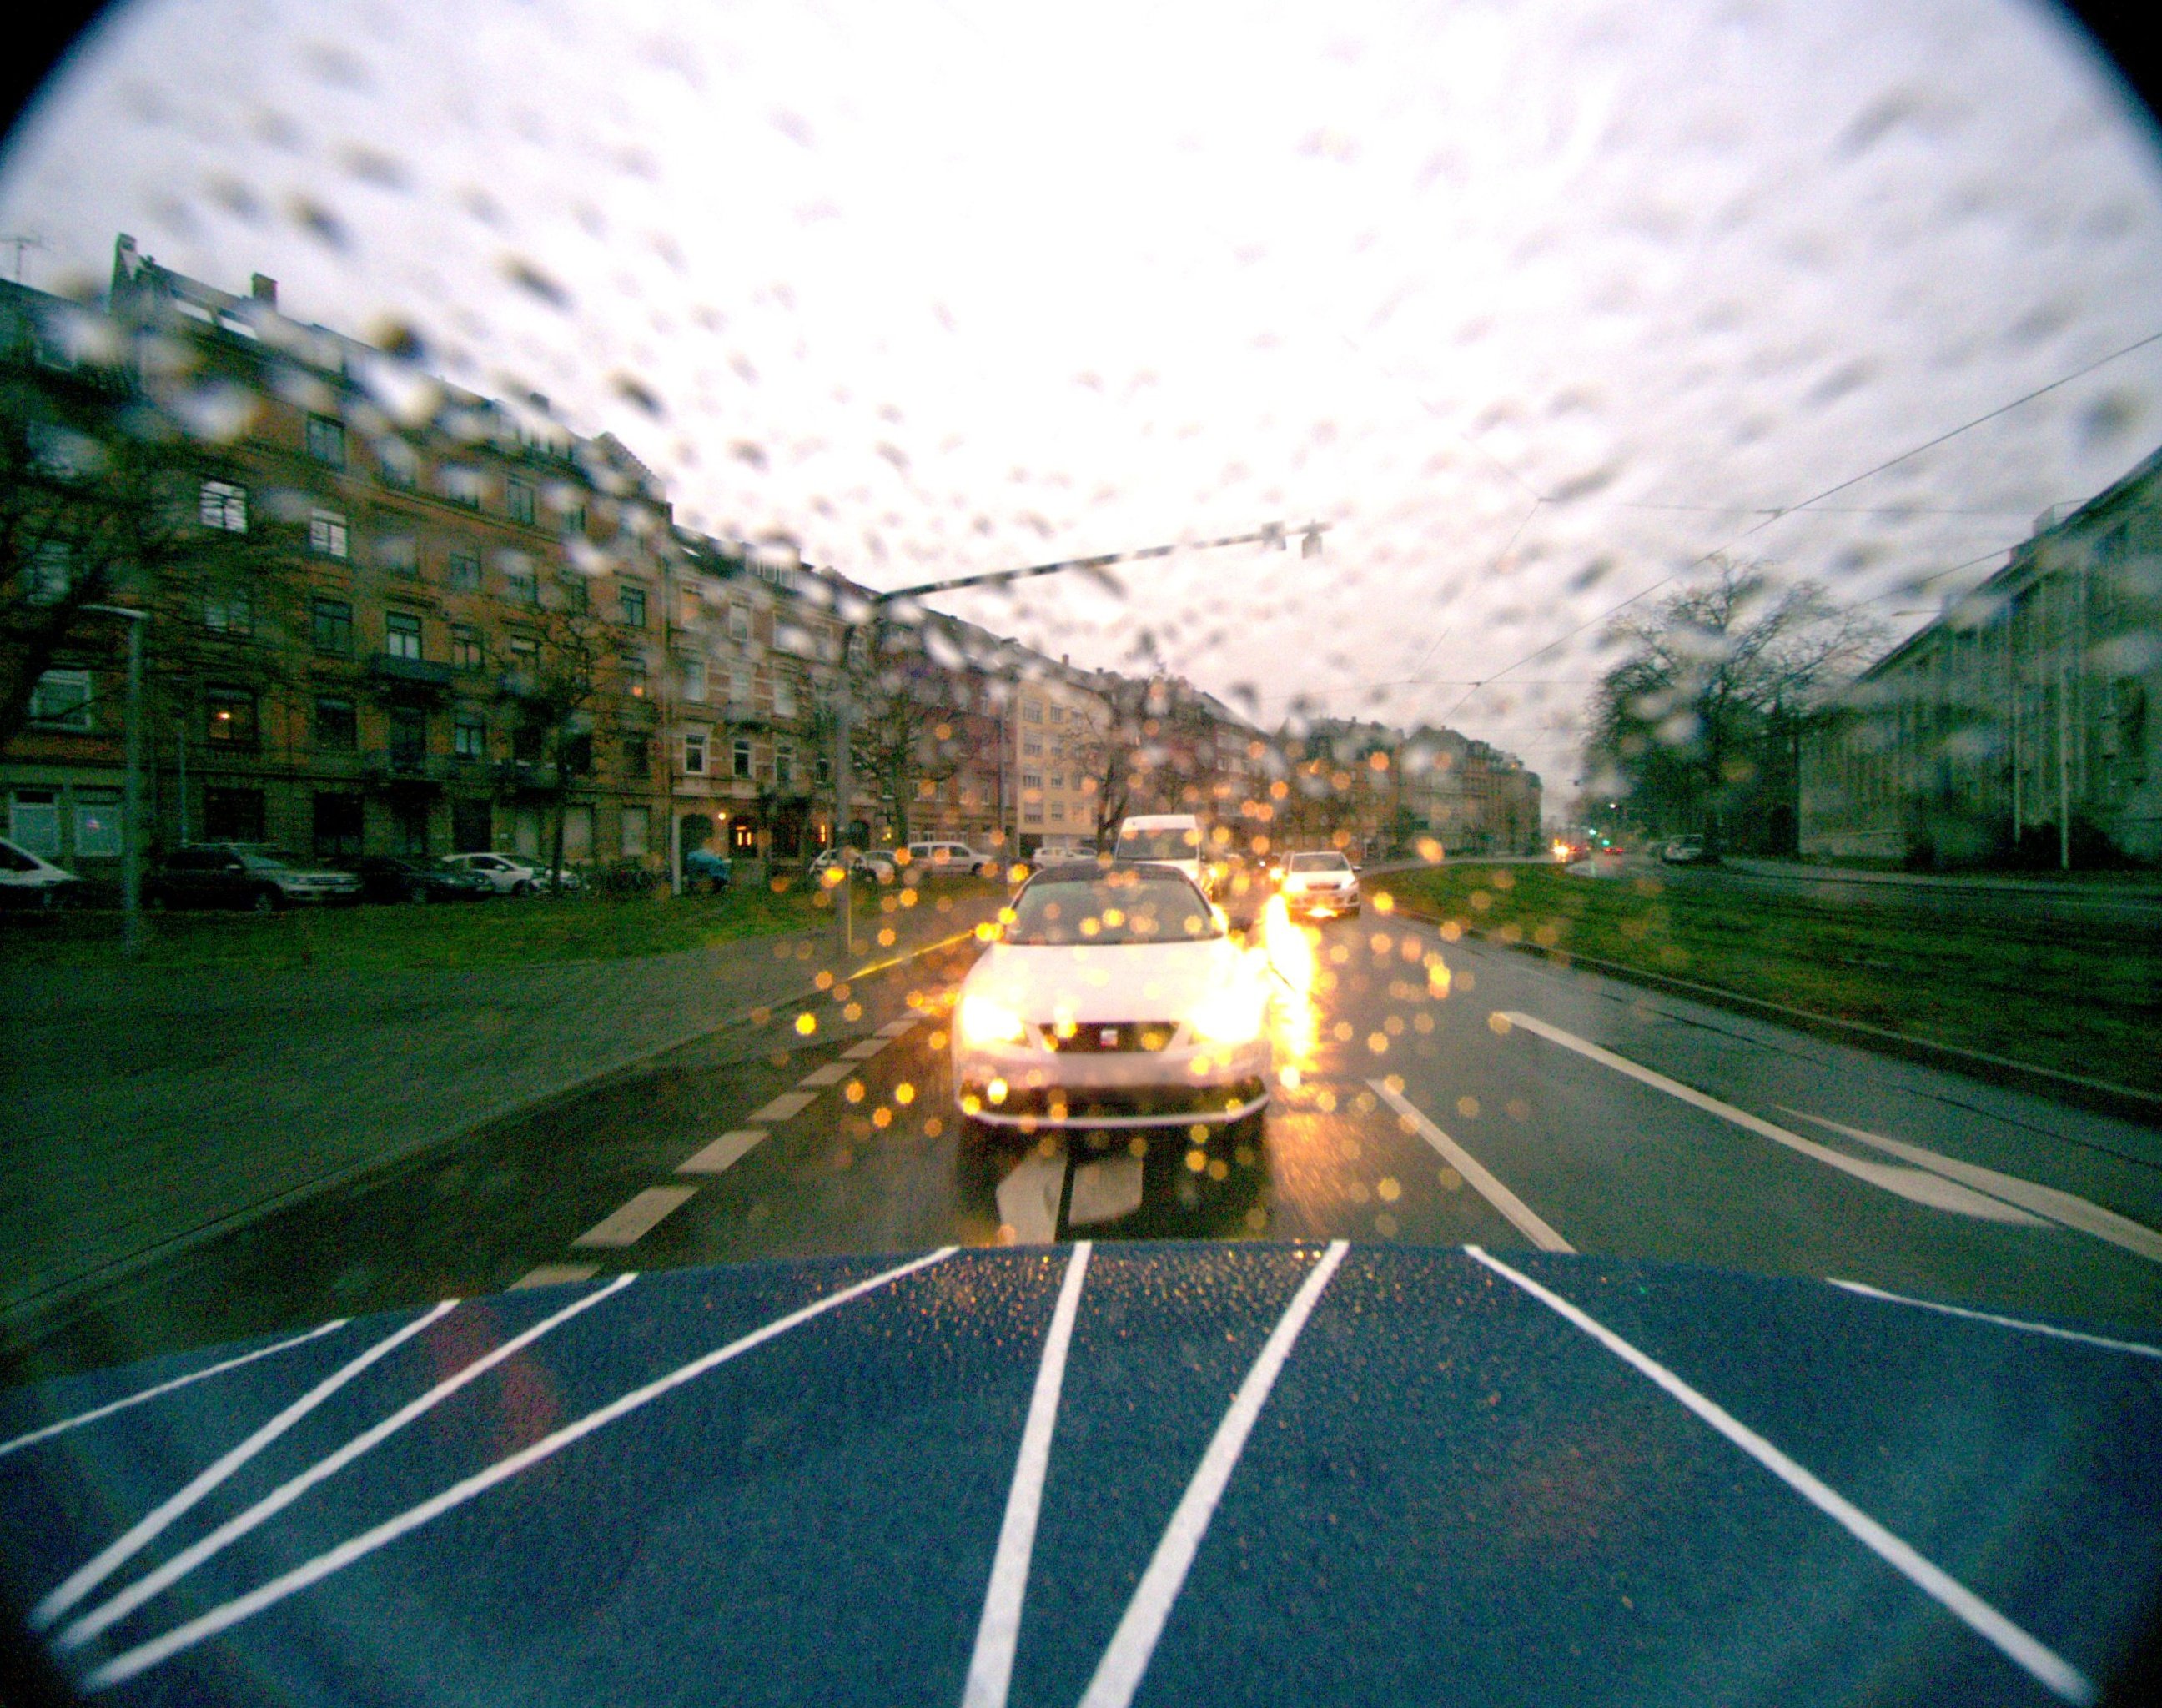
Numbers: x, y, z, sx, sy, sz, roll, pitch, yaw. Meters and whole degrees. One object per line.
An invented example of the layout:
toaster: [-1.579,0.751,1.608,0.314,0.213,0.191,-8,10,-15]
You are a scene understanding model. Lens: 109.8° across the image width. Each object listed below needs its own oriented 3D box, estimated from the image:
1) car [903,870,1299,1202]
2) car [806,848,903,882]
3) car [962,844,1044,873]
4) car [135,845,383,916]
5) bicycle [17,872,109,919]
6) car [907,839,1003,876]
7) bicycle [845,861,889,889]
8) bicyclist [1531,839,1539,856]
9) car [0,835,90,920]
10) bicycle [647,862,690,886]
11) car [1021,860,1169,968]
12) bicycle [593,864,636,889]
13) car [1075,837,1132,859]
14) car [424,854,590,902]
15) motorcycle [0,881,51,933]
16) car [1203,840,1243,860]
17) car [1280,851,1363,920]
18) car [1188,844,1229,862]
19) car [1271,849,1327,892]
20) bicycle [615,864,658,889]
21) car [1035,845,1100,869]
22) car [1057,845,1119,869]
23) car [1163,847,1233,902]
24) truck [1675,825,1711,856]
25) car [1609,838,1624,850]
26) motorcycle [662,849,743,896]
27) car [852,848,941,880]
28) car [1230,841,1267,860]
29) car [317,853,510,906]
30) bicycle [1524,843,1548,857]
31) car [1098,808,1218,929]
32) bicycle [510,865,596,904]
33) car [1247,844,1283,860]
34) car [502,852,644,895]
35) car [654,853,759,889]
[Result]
car: [0.170,0.898,5.644,1.787,1.370,4.223,-2,0,2]
car: [-9.741,0.452,32.858,3.684,1.391,1.521,-1,1,6]
car: [-4.065,0.237,39.891,3.958,1.436,1.702,-1,1,10]
car: [-19.382,0.606,18.034,4.152,1.560,1.742,-1,1,4]
bicycle: [-22.032,0.891,16.450,1.792,0.926,0.446,1,2,11]
car: [-6.196,0.181,37.661,4.340,1.758,1.782,-1,1,5]
bicycle: [-7.678,0.753,27.201,1.790,0.926,0.447,2,2,33]
bicyclist: [56.432,-0.785,94.435,0.777,2.002,0.831,-1,2,32]
car: [-29.007,0.612,19.179,1.994,2.176,4.670,0,1,33]
bicycle: [-15.142,0.726,27.886,1.791,0.813,0.395,2,2,26]
car: [0.399,0.859,12.384,1.721,1.380,3.825,-1,1,11]
bicycle: [-16.177,0.756,26.318,1.790,0.790,0.447,2,2,29]
car: [1.471,-0.398,49.513,3.611,1.362,1.618,-1,1,3]
car: [-16.847,0.682,22.404,3.684,1.298,1.669,-1,1,4]
motorcycle: [-21.030,1.005,14.655,1.793,0.926,0.513,1,2,5]
car: [11.813,-0.321,63.143,3.181,1.615,1.429,-1,1,13]
car: [5.688,0.692,18.073,1.687,1.422,3.350,-1,1,17]
car: [10.213,-0.060,60.840,3.181,1.420,1.429,-1,1,13]
car: [8.154,0.565,28.625,1.874,1.466,4.175,-1,0,15]
bicycle: [-15.672,0.780,26.798,1.790,0.773,0.447,2,2,29]
car: [-0.766,0.191,44.771,3.609,1.362,1.619,-1,1,9]
car: [0.463,0.178,46.898,3.609,1.362,1.619,-1,1,9]
car: [4.059,0.627,25.874,1.874,1.679,4.175,-1,1,15]
truck: [42.287,-0.900,52.574,1.833,2.032,4.008,0,1,38]
car: [74.665,-1.459,105.988,1.686,1.630,3.654,0,1,35]
motorcycle: [-11.860,0.554,23.817,2.352,1.338,0.886,2,3,19]
car: [-8.554,0.462,35.336,3.684,1.428,1.521,-1,1,6]
car: [14.965,-0.308,67.712,3.181,1.615,1.447,-1,1,13]
car: [-17.635,0.648,20.175,3.684,1.298,1.742,-1,1,4]
bicycle: [56.532,-0.498,94.397,2.446,1.697,0.847,-1,2,31]
car: [2.083,0.273,18.452,2.239,2.448,5.674,-1,1,12]
bicycle: [-14.392,0.814,20.754,1.911,1.013,0.535,0,2,-35]
car: [17.039,-0.219,70.243,3.181,1.405,1.383,-1,1,15]
car: [-16.560,0.616,24.860,3.684,1.298,1.521,-1,1,4]
car: [-14.490,0.650,29.476,3.297,1.298,1.521,-1,1,6]
